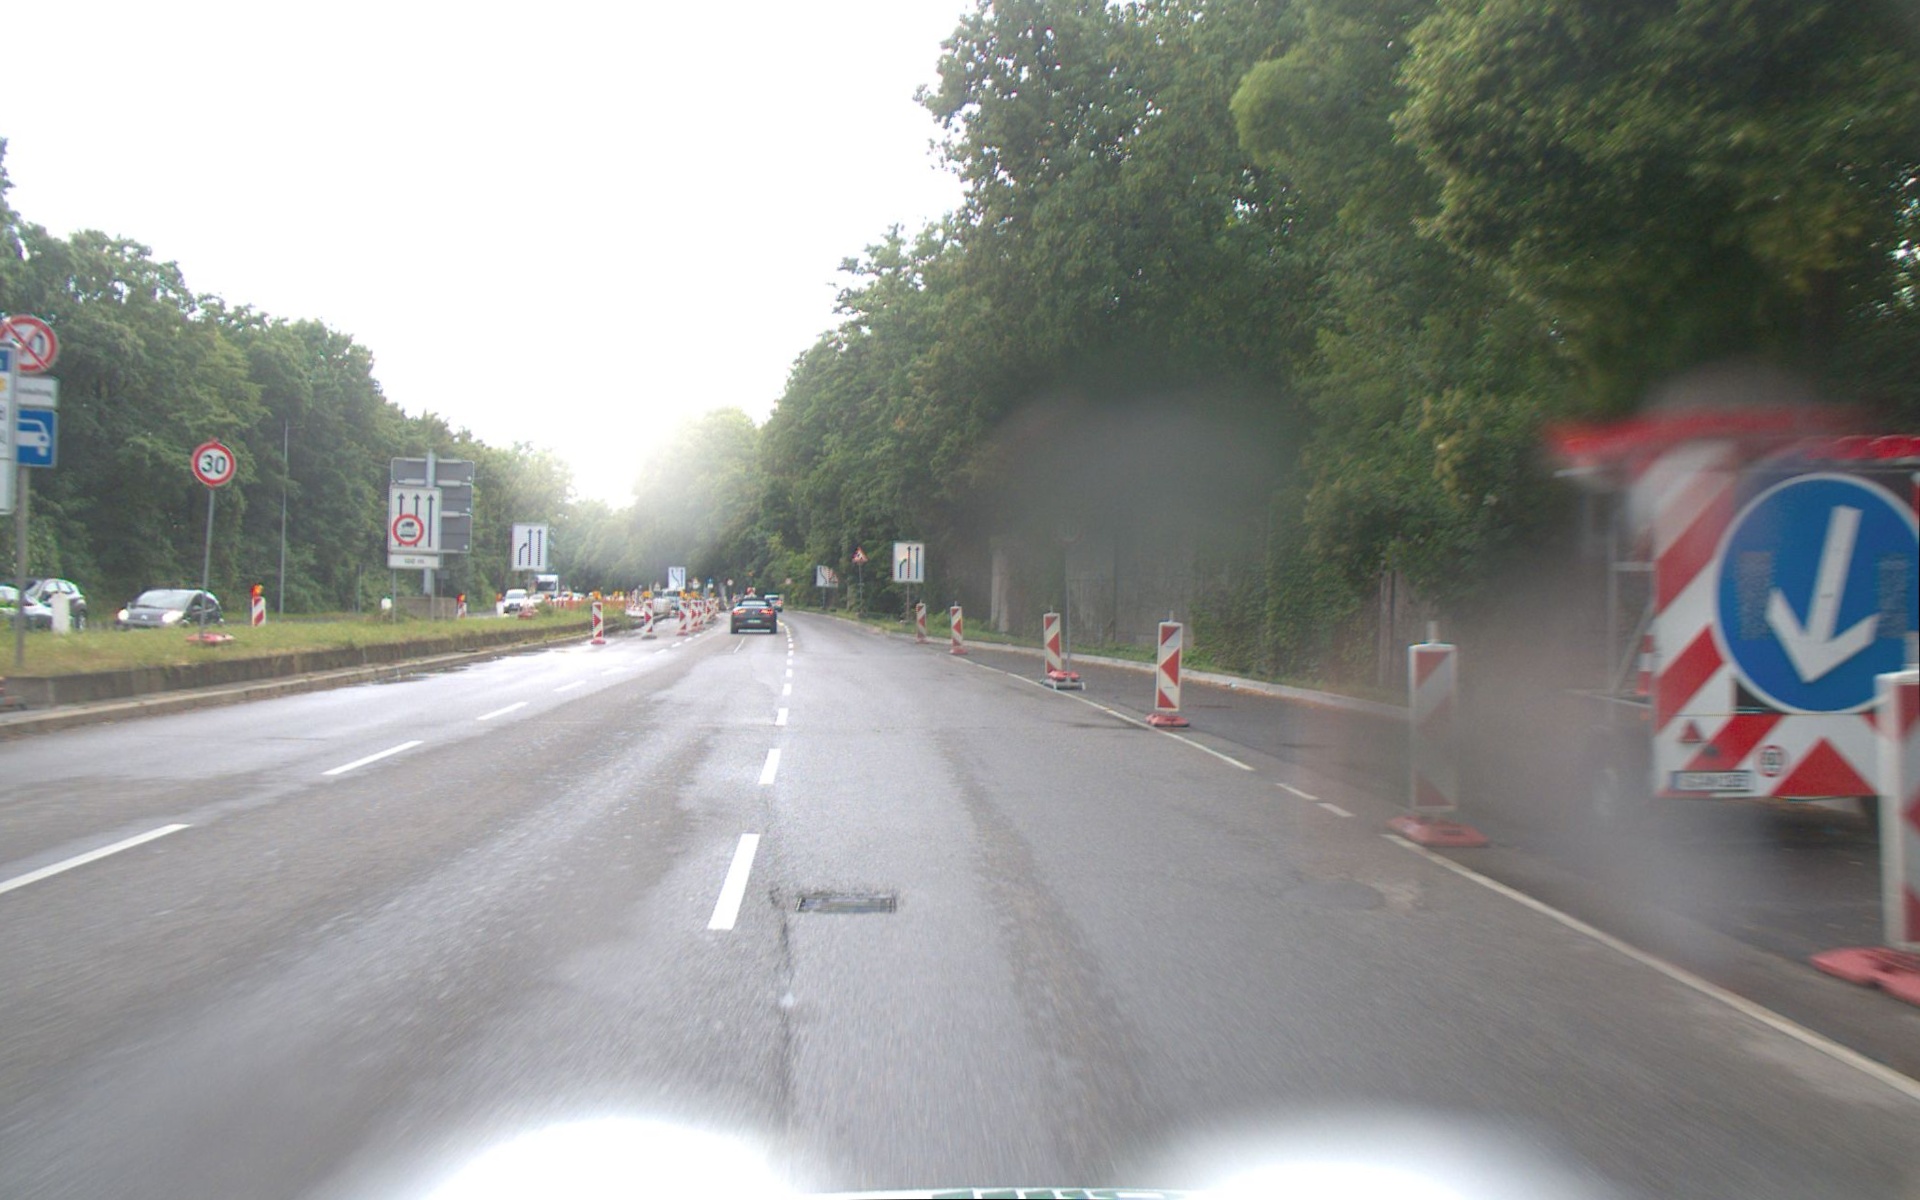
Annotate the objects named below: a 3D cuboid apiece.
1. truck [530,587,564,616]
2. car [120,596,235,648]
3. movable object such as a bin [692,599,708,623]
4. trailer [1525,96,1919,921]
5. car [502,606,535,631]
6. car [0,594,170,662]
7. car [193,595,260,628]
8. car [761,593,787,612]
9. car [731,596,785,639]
[{"bbox_3d":[-47.656,0.254,191.132,2.743,3.203,10.128,0,-1,-8],"label":"truck"},{"bbox_3d":[-19.294,0.546,40.907,1.401,1.221,3.297,1,-1,-3],"label":"car"},{"bbox_3d":[-31.500,1.317,200.430,1.716,2.918,3.522,0,-1,-13],"label":"movable object such as a bin"},{"bbox_3d":[5.408,-0.374,9.595,2.260,3.652,5.959,0,-1,1],"label":"trailer"},{"bbox_3d":[-34.439,1.413,129.040,1.878,1.812,4.825,1,0,-8],"label":"car"},{"bbox_3d":[-17.401,0.542,32.814,1.518,1.221,4.641,1,-1,-5],"label":"car"},{"bbox_3d":[-26.211,0.406,59.182,1.245,1.104,2.791,2,0,-4],"label":"car"},{"bbox_3d":[-16.442,0.198,145.935,1.880,1.626,4.819,1,0,-12],"label":"car"},{"bbox_3d":[-8.125,0.694,66.773,1.825,1.517,3.998,2,1,-3],"label":"car"}]
